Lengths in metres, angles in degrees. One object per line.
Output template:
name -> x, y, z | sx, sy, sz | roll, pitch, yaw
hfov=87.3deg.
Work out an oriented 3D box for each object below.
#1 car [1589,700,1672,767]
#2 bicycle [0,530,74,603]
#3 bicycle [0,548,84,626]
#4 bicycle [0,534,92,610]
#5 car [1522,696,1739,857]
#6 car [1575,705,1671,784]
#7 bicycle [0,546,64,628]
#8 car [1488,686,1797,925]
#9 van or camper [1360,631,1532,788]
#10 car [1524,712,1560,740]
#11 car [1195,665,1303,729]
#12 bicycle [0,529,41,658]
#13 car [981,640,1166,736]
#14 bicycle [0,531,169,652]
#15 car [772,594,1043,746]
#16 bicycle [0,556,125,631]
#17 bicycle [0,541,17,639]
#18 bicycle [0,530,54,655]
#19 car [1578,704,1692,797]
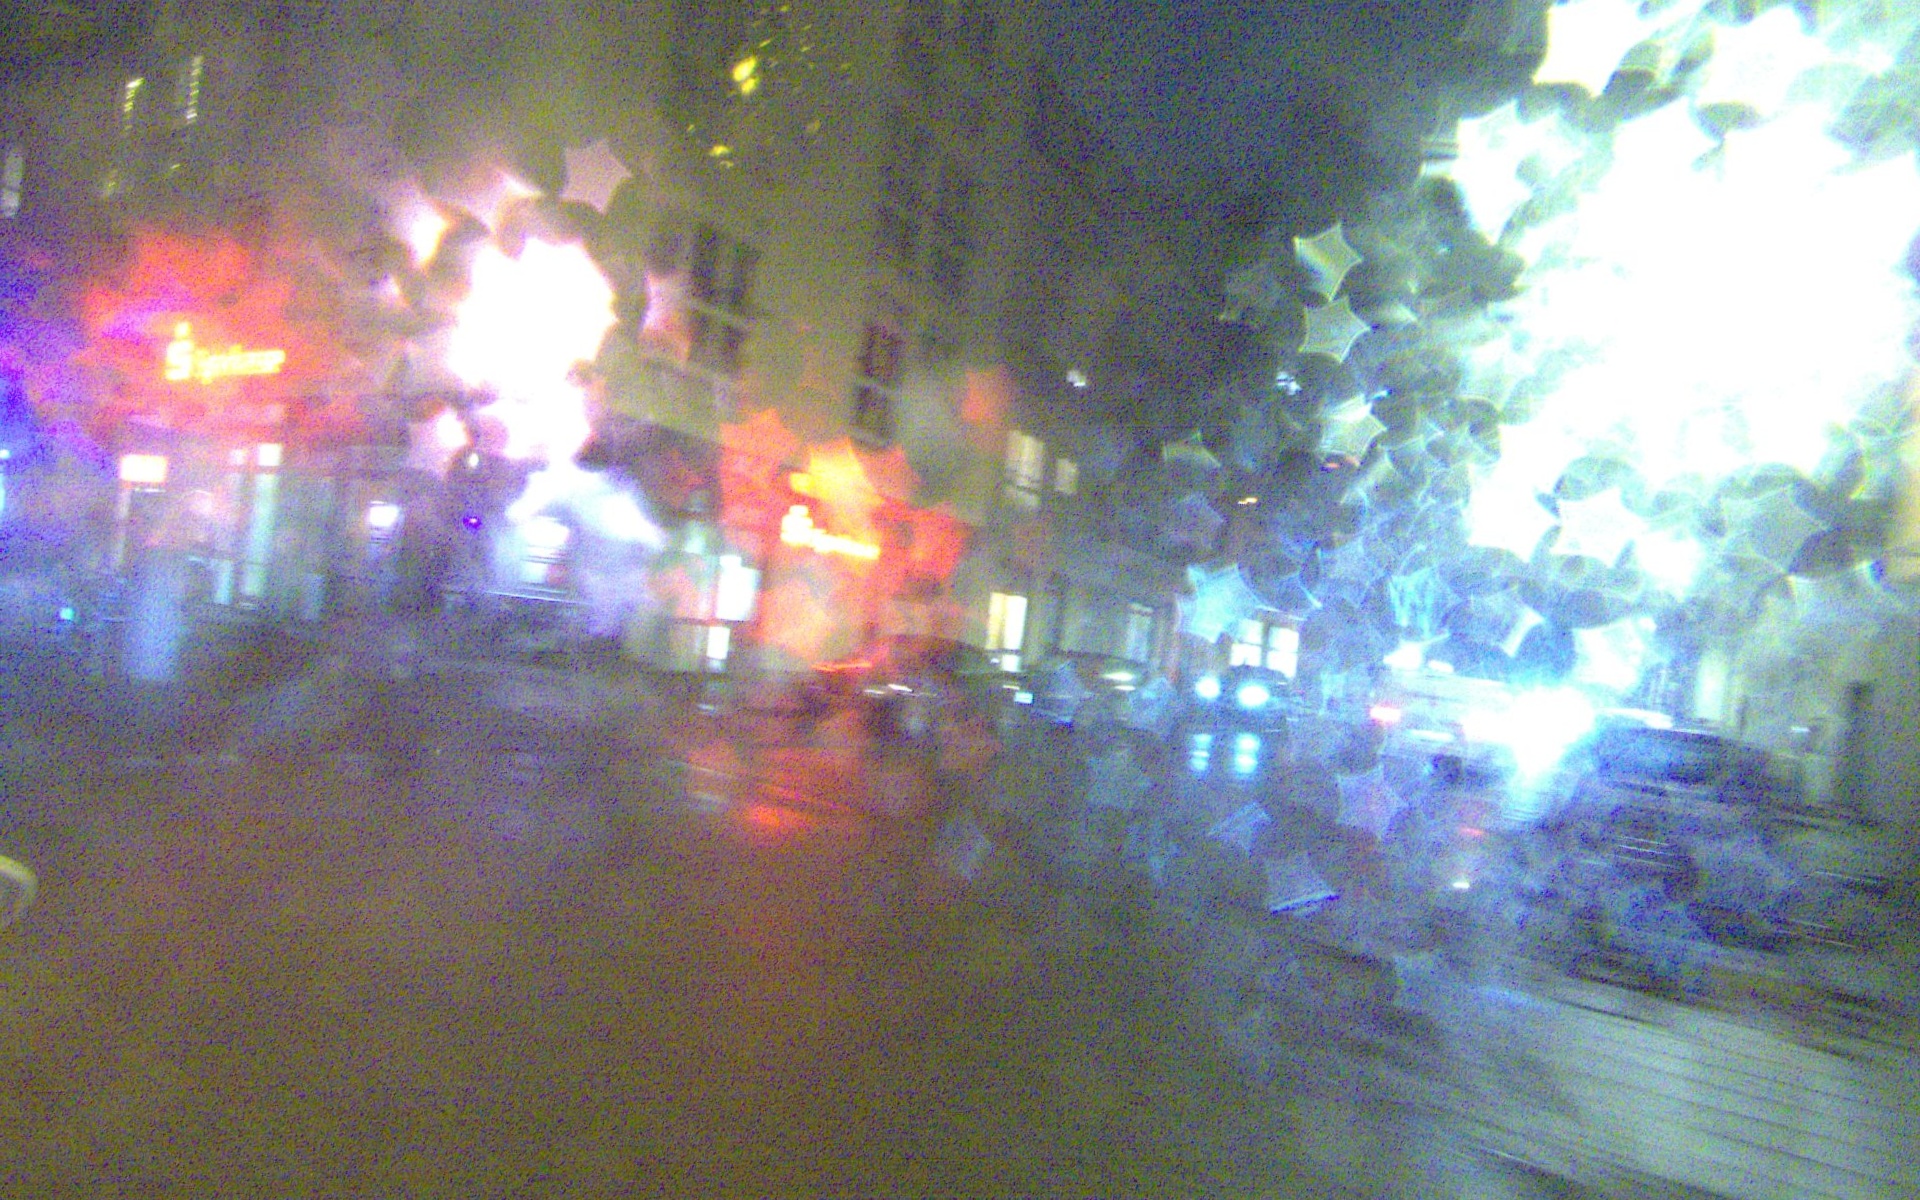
car -> 20.286, 4.052, 30.558 | 1.812, 1.620, 4.154 | 6, -3, 32
bicycle -> -12.933, -0.456, 13.507 | 0.360, 0.966, 1.528 | 5, 4, 28
bicycle -> -12.131, -0.166, 12.753 | 0.360, 0.966, 1.528 | 5, 4, 28
bicycle -> -12.395, -0.368, 13.176 | 0.360, 0.966, 1.529 | 5, 4, 27
car -> 8.750, 2.264, 13.324 | 1.968, 1.524, 3.997 | 6, -4, 33
car -> 17.213, 3.735, 26.249 | 1.812, 1.620, 4.154 | 6, -3, 32
bicycle -> -11.684, -0.160, 11.938 | 0.360, 0.966, 1.526 | 6, 4, 35
car -> 6.307, 1.772, 9.531 | 1.864, 1.501, 3.995 | 6, -3, 33
van or camper -> 9.546, 2.186, 19.453 | 2.085, 2.424, 5.327 | 6, -4, 34
car -> 40.556, 8.790, 70.094 | 1.967, 1.552, 3.998 | 6, -4, 32
car -> 8.425, 2.837, 29.100 | 1.812, 1.449, 4.154 | 6, -3, 32
bicycle -> -9.491, -0.067, 9.227 | 0.360, 1.219, 1.526 | 6, 4, 34
car -> 2.324, 1.768, 19.565 | 1.812, 1.449, 4.154 | 6, -3, 32
bicycle -> -9.547, -0.100, 10.893 | 0.360, 1.219, 1.528 | 5, 4, 30
car -> -0.614, 1.128, 15.034 | 1.812, 1.789, 4.154 | 6, -3, 32
bicycle -> -10.764, -0.080, 11.753 | 0.320, 0.845, 1.526 | 6, 4, 35
bicycle -> -10.690, -0.102, 10.255 | 0.360, 1.038, 1.528 | 5, 4, 30
bicycle -> -9.752, -0.073, 9.653 | 0.360, 1.219, 1.528 | 5, 4, 30
car -> 14.924, 3.305, 22.422 | 1.812, 1.620, 4.154 | 6, -3, 32
